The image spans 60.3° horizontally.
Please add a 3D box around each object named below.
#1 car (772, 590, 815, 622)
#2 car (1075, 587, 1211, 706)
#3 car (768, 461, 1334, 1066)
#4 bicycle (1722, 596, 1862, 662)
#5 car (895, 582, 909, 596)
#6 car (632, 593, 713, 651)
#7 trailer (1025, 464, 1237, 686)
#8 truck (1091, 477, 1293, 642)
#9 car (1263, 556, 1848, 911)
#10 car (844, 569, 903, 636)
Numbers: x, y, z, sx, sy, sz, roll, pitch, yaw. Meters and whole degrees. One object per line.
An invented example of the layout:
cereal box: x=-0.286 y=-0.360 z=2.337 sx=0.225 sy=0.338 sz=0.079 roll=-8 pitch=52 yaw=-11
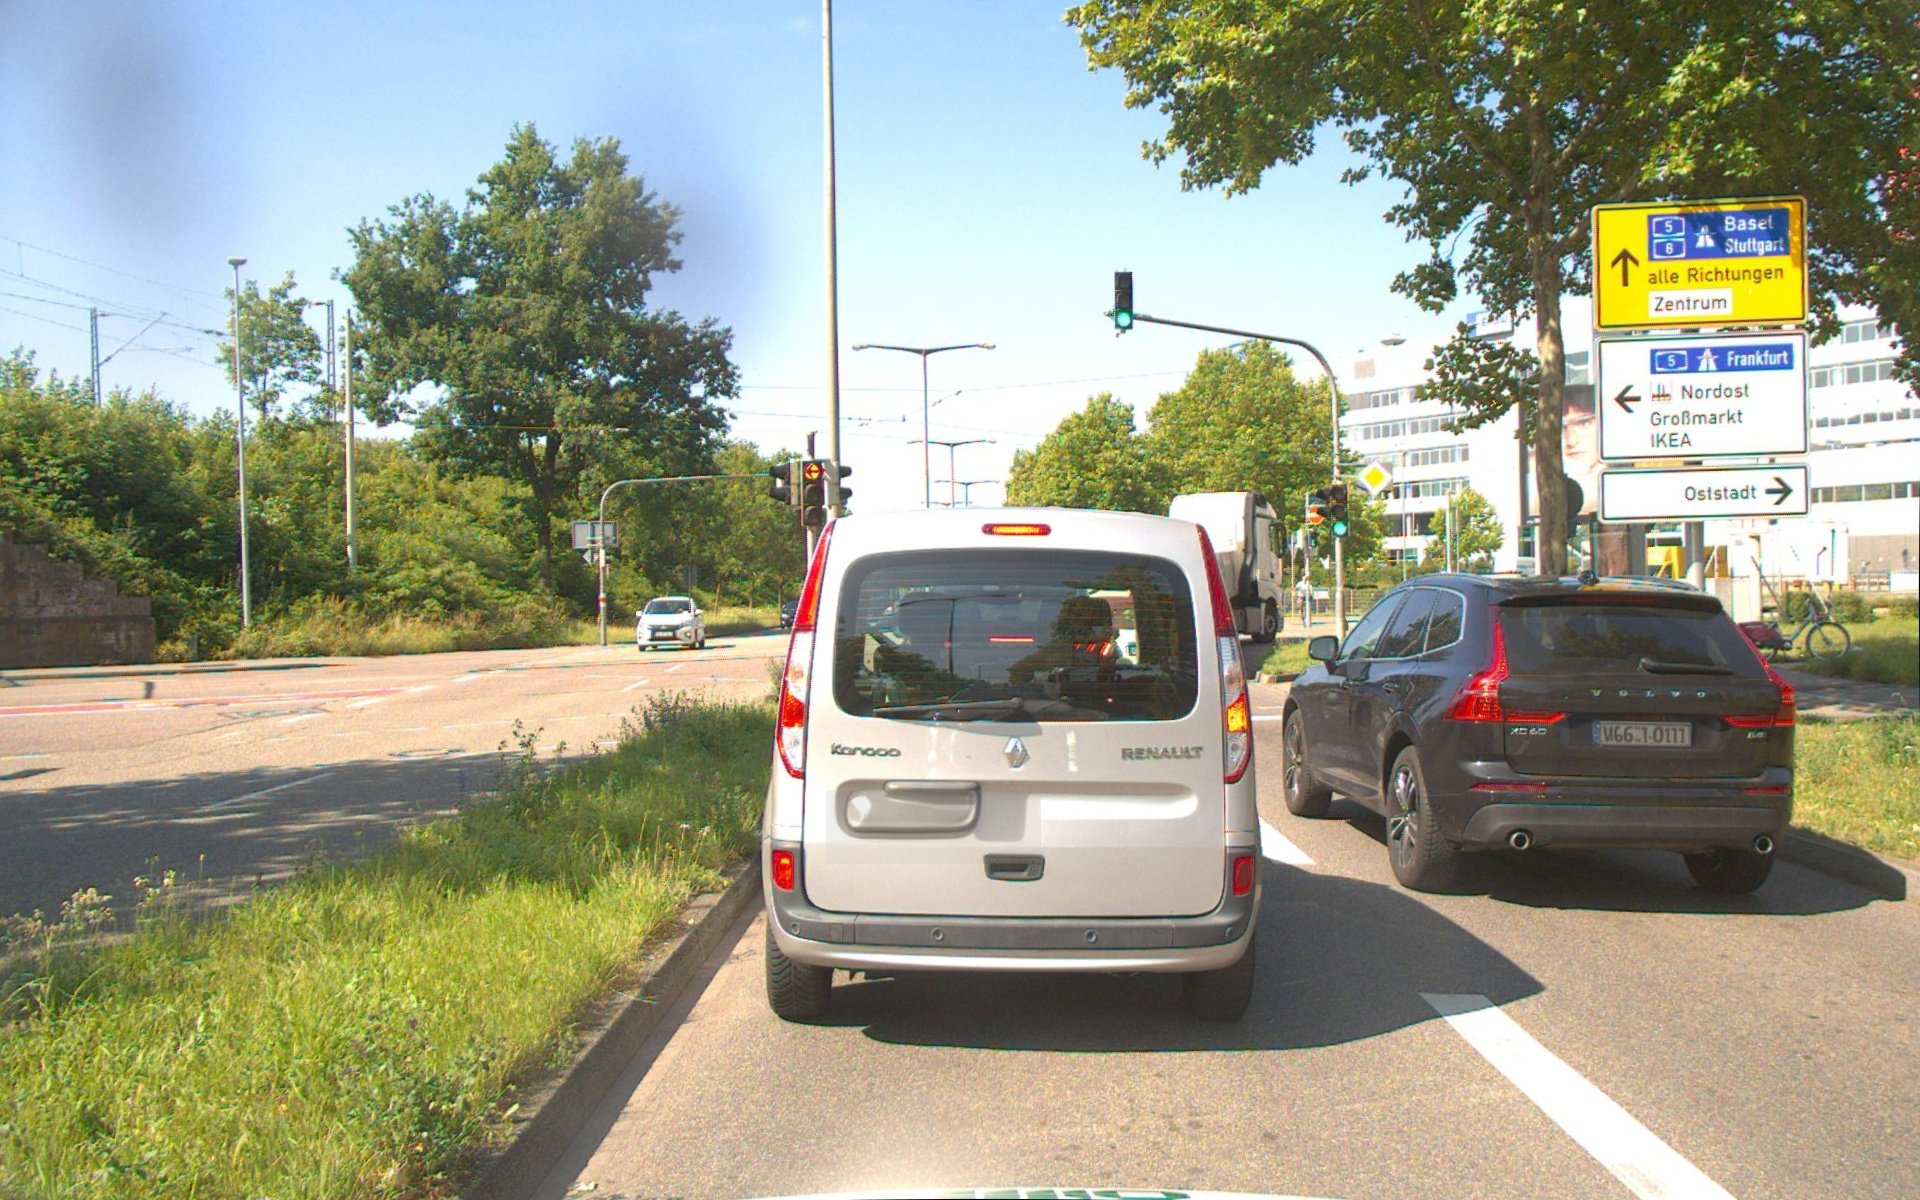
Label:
car: x=-9.106 y=0.340 z=90.707 sx=1.872 sy=1.670 sz=3.738 roll=-1 pitch=0 yaw=2
car: x=2.542 y=0.623 z=23.547 sx=1.507 sy=1.541 sz=3.259 roll=1 pitch=0 yaw=-1
car: x=0.263 y=0.524 z=7.193 sx=1.750 sy=1.870 sz=3.999 roll=1 pitch=0 yaw=-1
bicycle: x=13.637 y=0.471 z=27.151 sx=1.959 sy=1.031 sz=0.621 roll=-1 pitch=0 yaw=16
car: x=-8.788 y=-1.670 z=250.614 sx=1.849 sy=2.049 sz=4.001 roll=1 pitch=0 yaw=1
car: x=-8.237 y=0.586 z=47.663 sx=1.665 sy=1.534 sz=3.999 roll=-1 pitch=1 yaw=-1
trailer: x=3.898 y=-0.389 z=34.027 sx=2.838 sy=3.686 sz=12.696 roll=1 pitch=0 yaw=13
truck: x=5.903 y=-0.887 z=40.937 sx=2.853 sy=3.707 sz=7.182 roll=1 pitch=0 yaw=26
car: x=3.170 y=0.630 z=9.885 sx=1.837 sy=1.619 sz=4.432 roll=1 pitch=0 yaw=-1
car: x=-3.589 y=0.126 z=69.505 sx=1.952 sy=2.653 sz=5.135 roll=-1 pitch=0 yaw=2
